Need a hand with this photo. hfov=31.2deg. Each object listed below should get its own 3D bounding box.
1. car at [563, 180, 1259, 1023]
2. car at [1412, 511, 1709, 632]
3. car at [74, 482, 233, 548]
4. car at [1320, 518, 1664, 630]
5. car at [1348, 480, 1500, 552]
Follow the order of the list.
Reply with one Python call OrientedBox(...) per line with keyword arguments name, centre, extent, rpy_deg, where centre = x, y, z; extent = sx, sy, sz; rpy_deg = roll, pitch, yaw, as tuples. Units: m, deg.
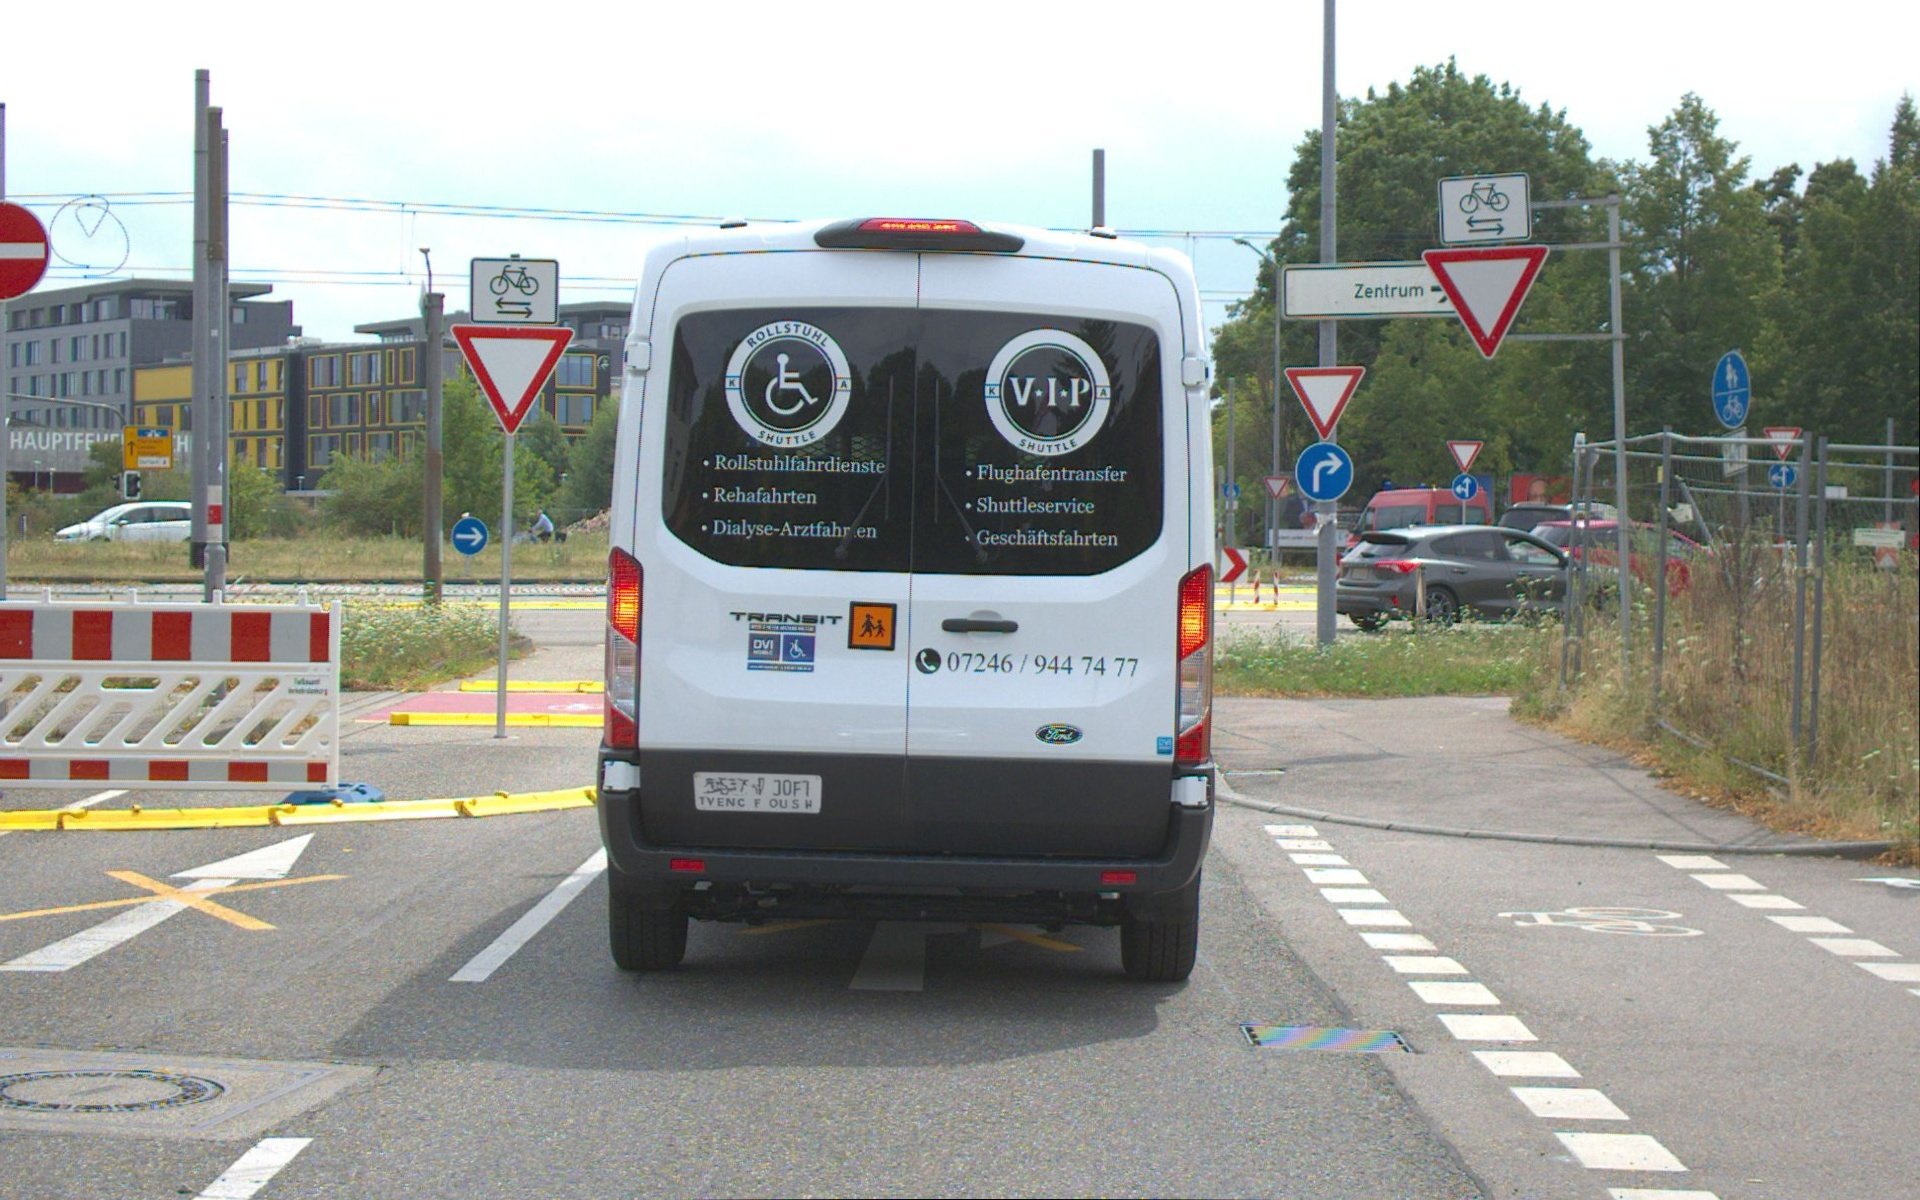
OrientedBox(name="car", centre=(-0.147, -0.034, 12.637), extent=(2.063, 2.531, 4.000), rpy_deg=(2, 1, 0))
OrientedBox(name="car", centre=(9.001, -0.454, 51.521), extent=(3.986, 1.656, 1.891), rpy_deg=(-2, 2, -25))
OrientedBox(name="car", centre=(-22.942, -2.416, 97.811), extent=(3.988, 1.765, 1.768), rpy_deg=(-2, 2, -35))
OrientedBox(name="car", centre=(7.116, -0.369, 45.927), extent=(4.341, 1.349, 1.622), rpy_deg=(-2, 2, -24))
OrientedBox(name="car", centre=(12.114, -2.208, 89.993), extent=(2.006, 1.810, 4.413), rpy_deg=(-2, 2, -21))
